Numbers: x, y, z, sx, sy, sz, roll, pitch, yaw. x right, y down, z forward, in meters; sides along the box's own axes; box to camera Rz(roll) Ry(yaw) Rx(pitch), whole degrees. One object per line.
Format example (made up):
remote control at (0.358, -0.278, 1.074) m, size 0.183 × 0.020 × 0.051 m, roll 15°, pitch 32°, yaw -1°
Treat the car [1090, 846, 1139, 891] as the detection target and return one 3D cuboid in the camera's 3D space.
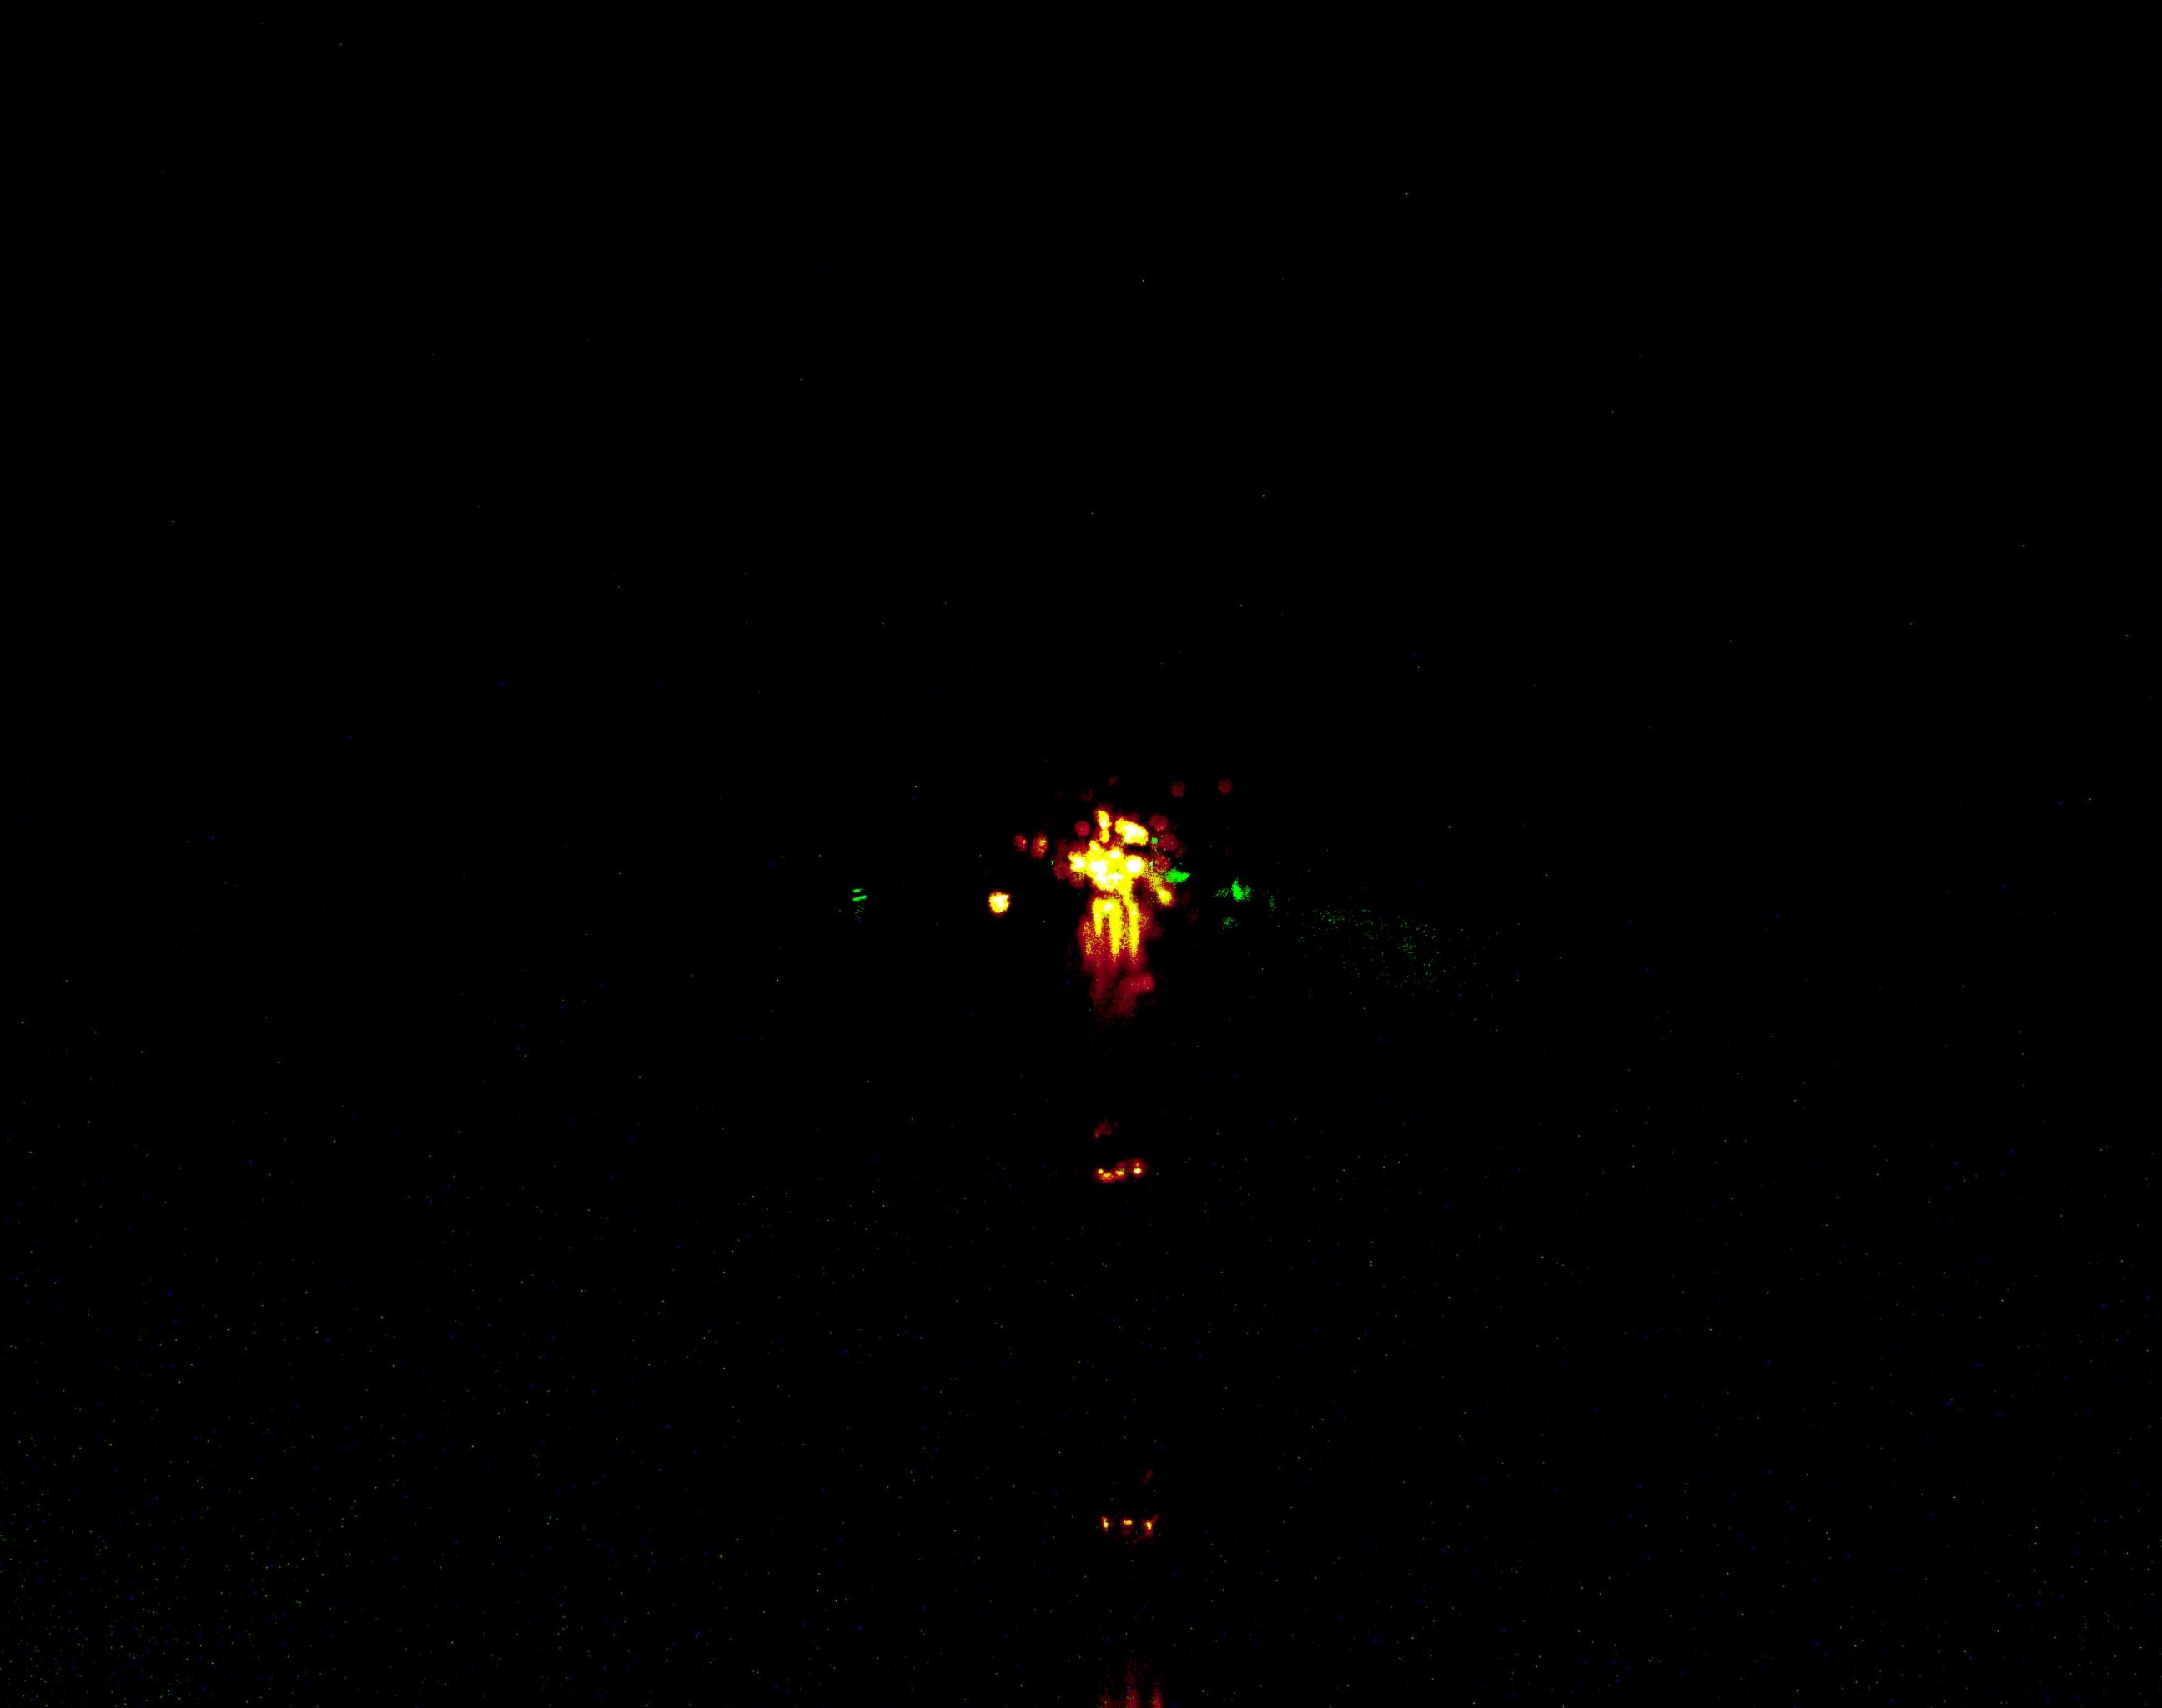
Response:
car at (1.283, 0.529, 32.006) m, size 1.795 × 1.628 × 3.616 m, roll -1°, pitch 0°, yaw 1°
